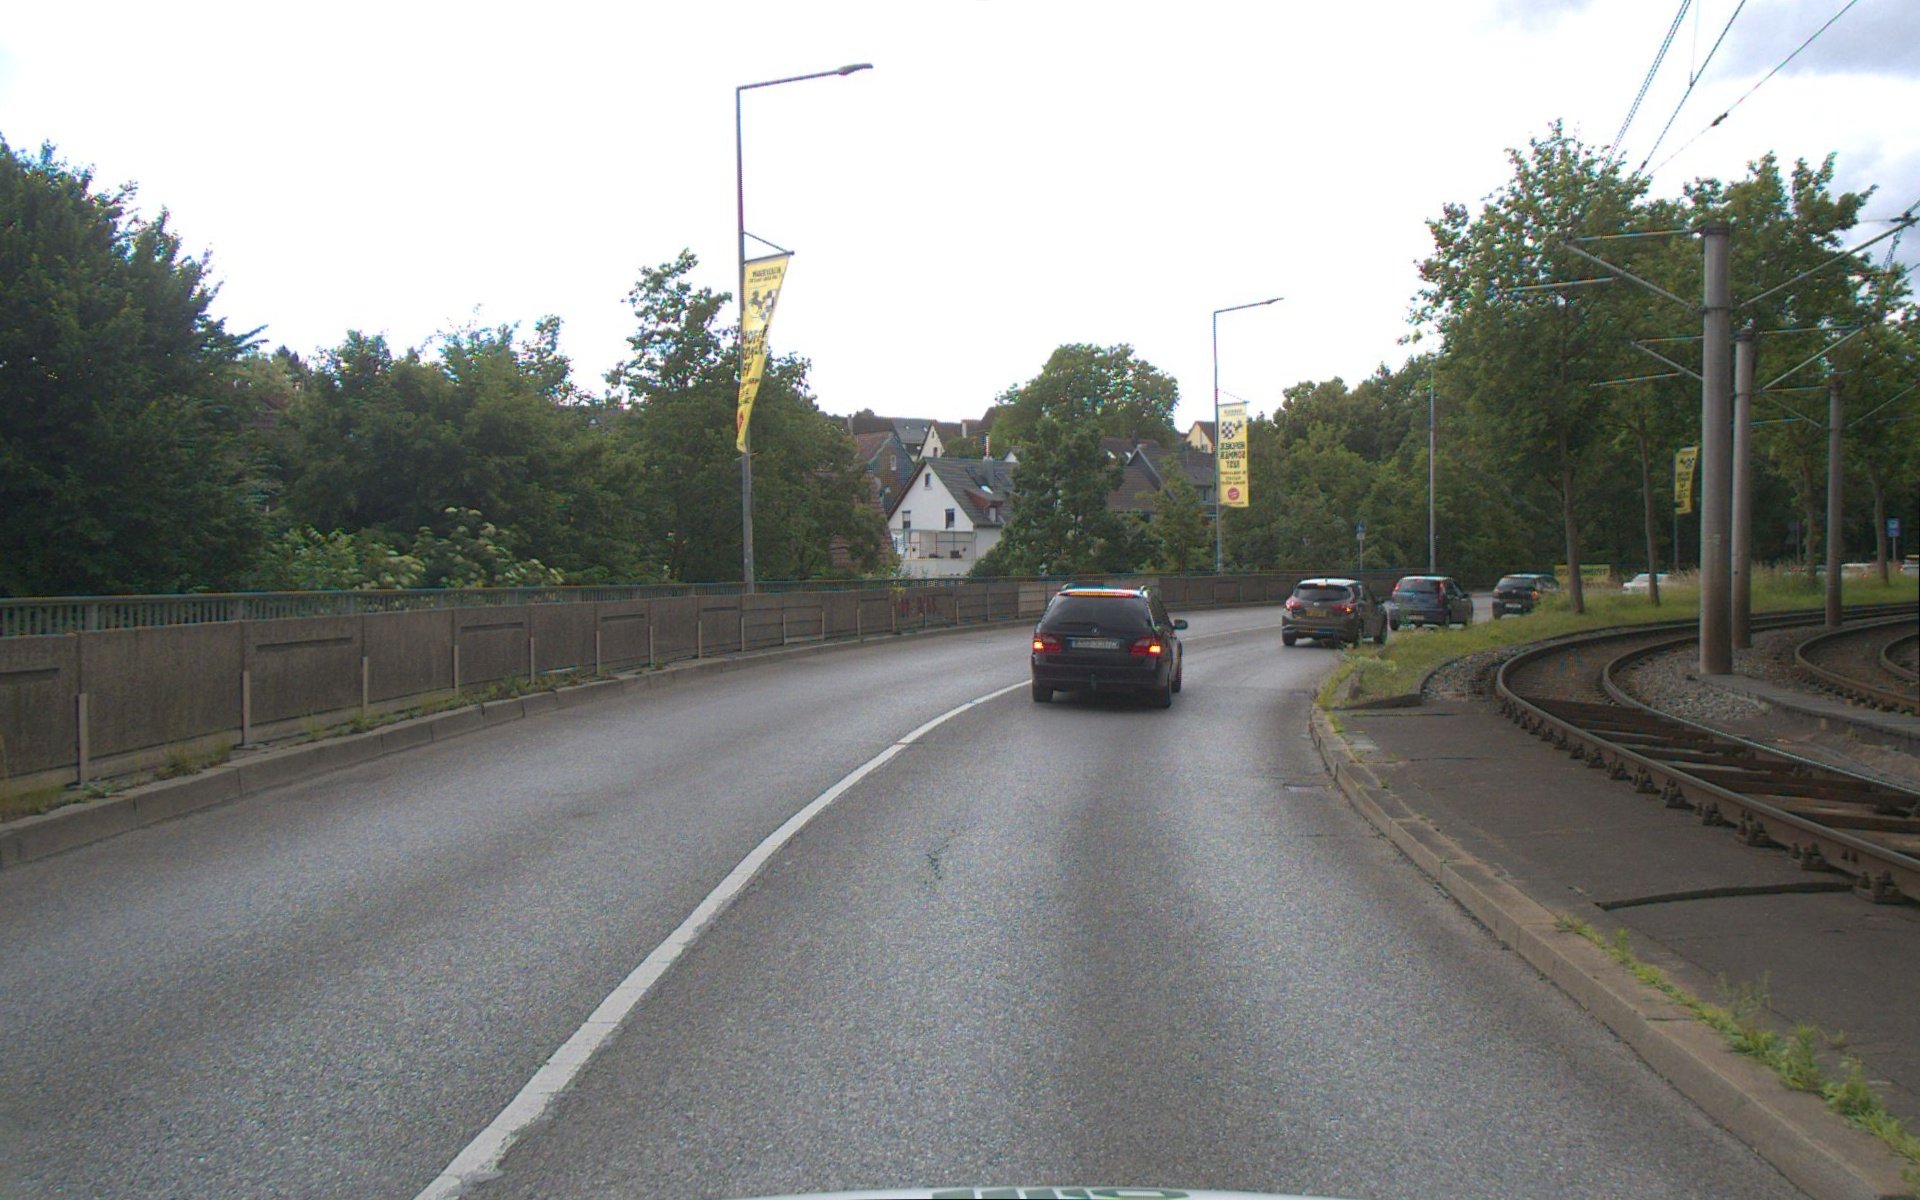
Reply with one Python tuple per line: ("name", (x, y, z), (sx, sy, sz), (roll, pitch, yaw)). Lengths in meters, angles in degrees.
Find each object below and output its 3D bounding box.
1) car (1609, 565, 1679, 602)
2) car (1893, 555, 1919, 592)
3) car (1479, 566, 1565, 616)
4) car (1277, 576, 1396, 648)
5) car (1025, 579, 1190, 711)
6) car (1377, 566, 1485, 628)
("car", (26.699, -0.641, 64.495), (1.478, 1.388, 3.566), (0, 1, 41))
("car", (50.357, -1.384, 86.238), (3.968, 1.892, 1.904), (-1, 1, -43))
("car", (18.097, -0.302, 53.182), (1.551, 1.565, 3.985), (0, 1, 36))
("car", (8.808, 0.229, 38.469), (1.740, 1.520, 3.996), (3, 2, 27))
("car", (2.078, 0.512, 22.111), (1.812, 1.512, 4.425), (2, 1, 9))
("car", (13.128, -0.105, 45.964), (1.859, 1.601, 3.990), (2, 1, 32))
